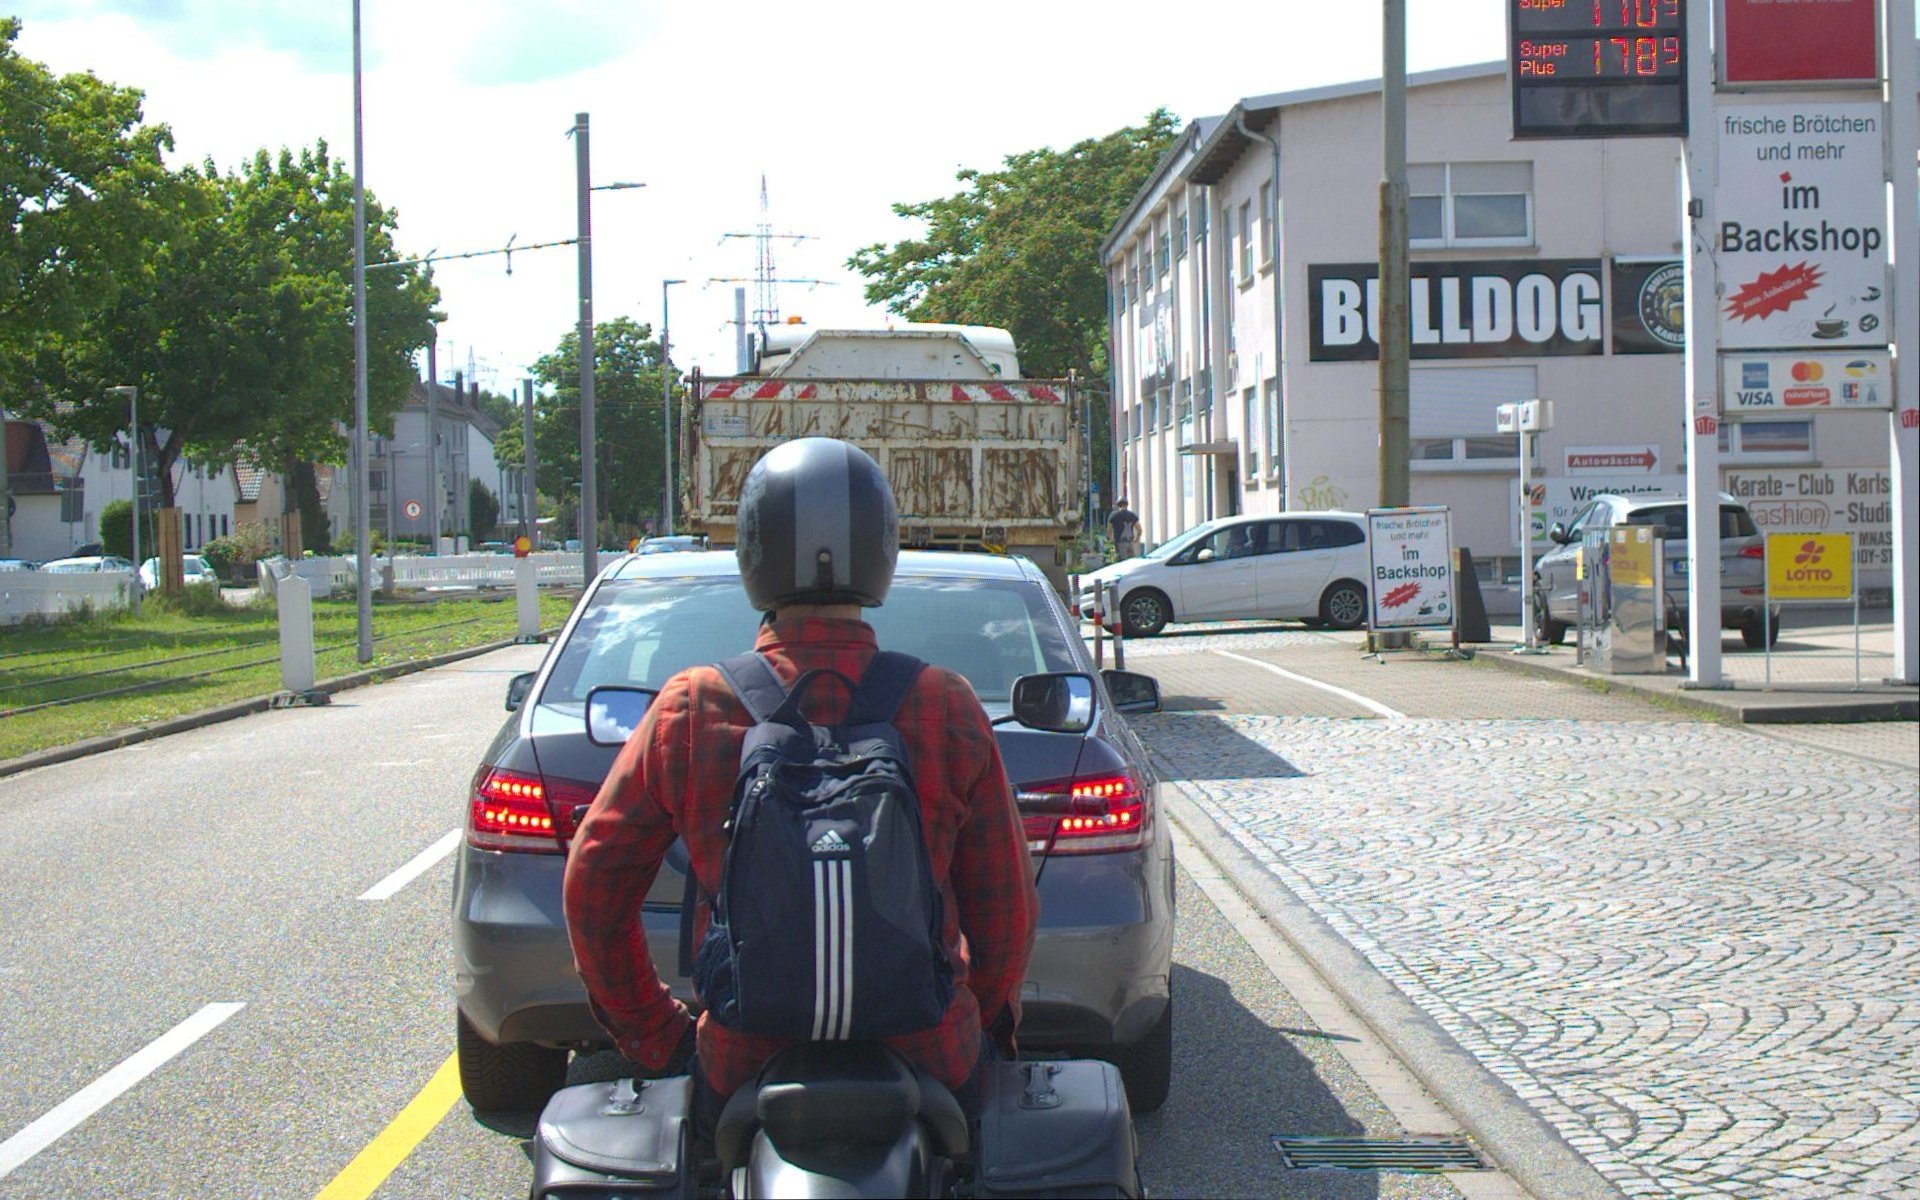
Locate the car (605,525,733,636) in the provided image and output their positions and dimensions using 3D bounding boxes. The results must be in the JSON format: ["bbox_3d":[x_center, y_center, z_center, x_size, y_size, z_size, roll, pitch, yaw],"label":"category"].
[{"bbox_3d":[-4.480,-0.335,53.466,1.680,1.619,4.119,-1,1,-1],"label":"car"}]

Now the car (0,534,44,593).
[{"bbox_3d":[-29.262,-1.109,104.597,1.698,1.733,4.062,-1,1,0],"label":"car"}]

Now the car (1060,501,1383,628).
[{"bbox_3d":[3.551,-0.500,47.038,4.104,1.619,1.686,-1,1,-8],"label":"car"}]

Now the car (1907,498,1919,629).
[{"bbox_3d":[11.789,-0.401,37.250,1.832,1.474,4.010,-1,1,-2],"label":"car"}]

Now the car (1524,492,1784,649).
[{"bbox_3d":[7.325,-0.341,36.652,1.832,1.530,4.010,-1,1,-2],"label":"car"}]

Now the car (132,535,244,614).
[{"bbox_3d":[-17.889,-0.620,79.797,1.698,1.733,3.860,-1,1,0],"label":"car"}]

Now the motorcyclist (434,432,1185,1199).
[{"bbox_3d":[-0.207,0.587,5.092,0.969,1.627,1.215,1,1,-1],"label":"motorcyclist"}]

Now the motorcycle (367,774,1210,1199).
[{"bbox_3d":[-0.217,0.862,5.215,0.976,1.010,2.432,1,1,-1],"label":"motorcycle"}]

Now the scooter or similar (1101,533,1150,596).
[{"bbox_3d":[3.074,-0.665,63.872,0.795,1.141,1.519,-1,1,-1],"label":"scooter or similar"}]

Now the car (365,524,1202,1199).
[{"bbox_3d":[-0.448,0.546,9.693,1.832,1.474,4.010,-1,1,-2],"label":"car"}]

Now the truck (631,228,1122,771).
[{"bbox_3d":[-0.634,-0.716,25.476,2.970,3.293,8.408,-1,1,-2],"label":"truck"}]

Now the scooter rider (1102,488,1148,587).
[{"bbox_3d":[3.060,-1.164,63.865,0.795,1.812,0.508,-1,1,-1],"label":"scooter rider"}]
